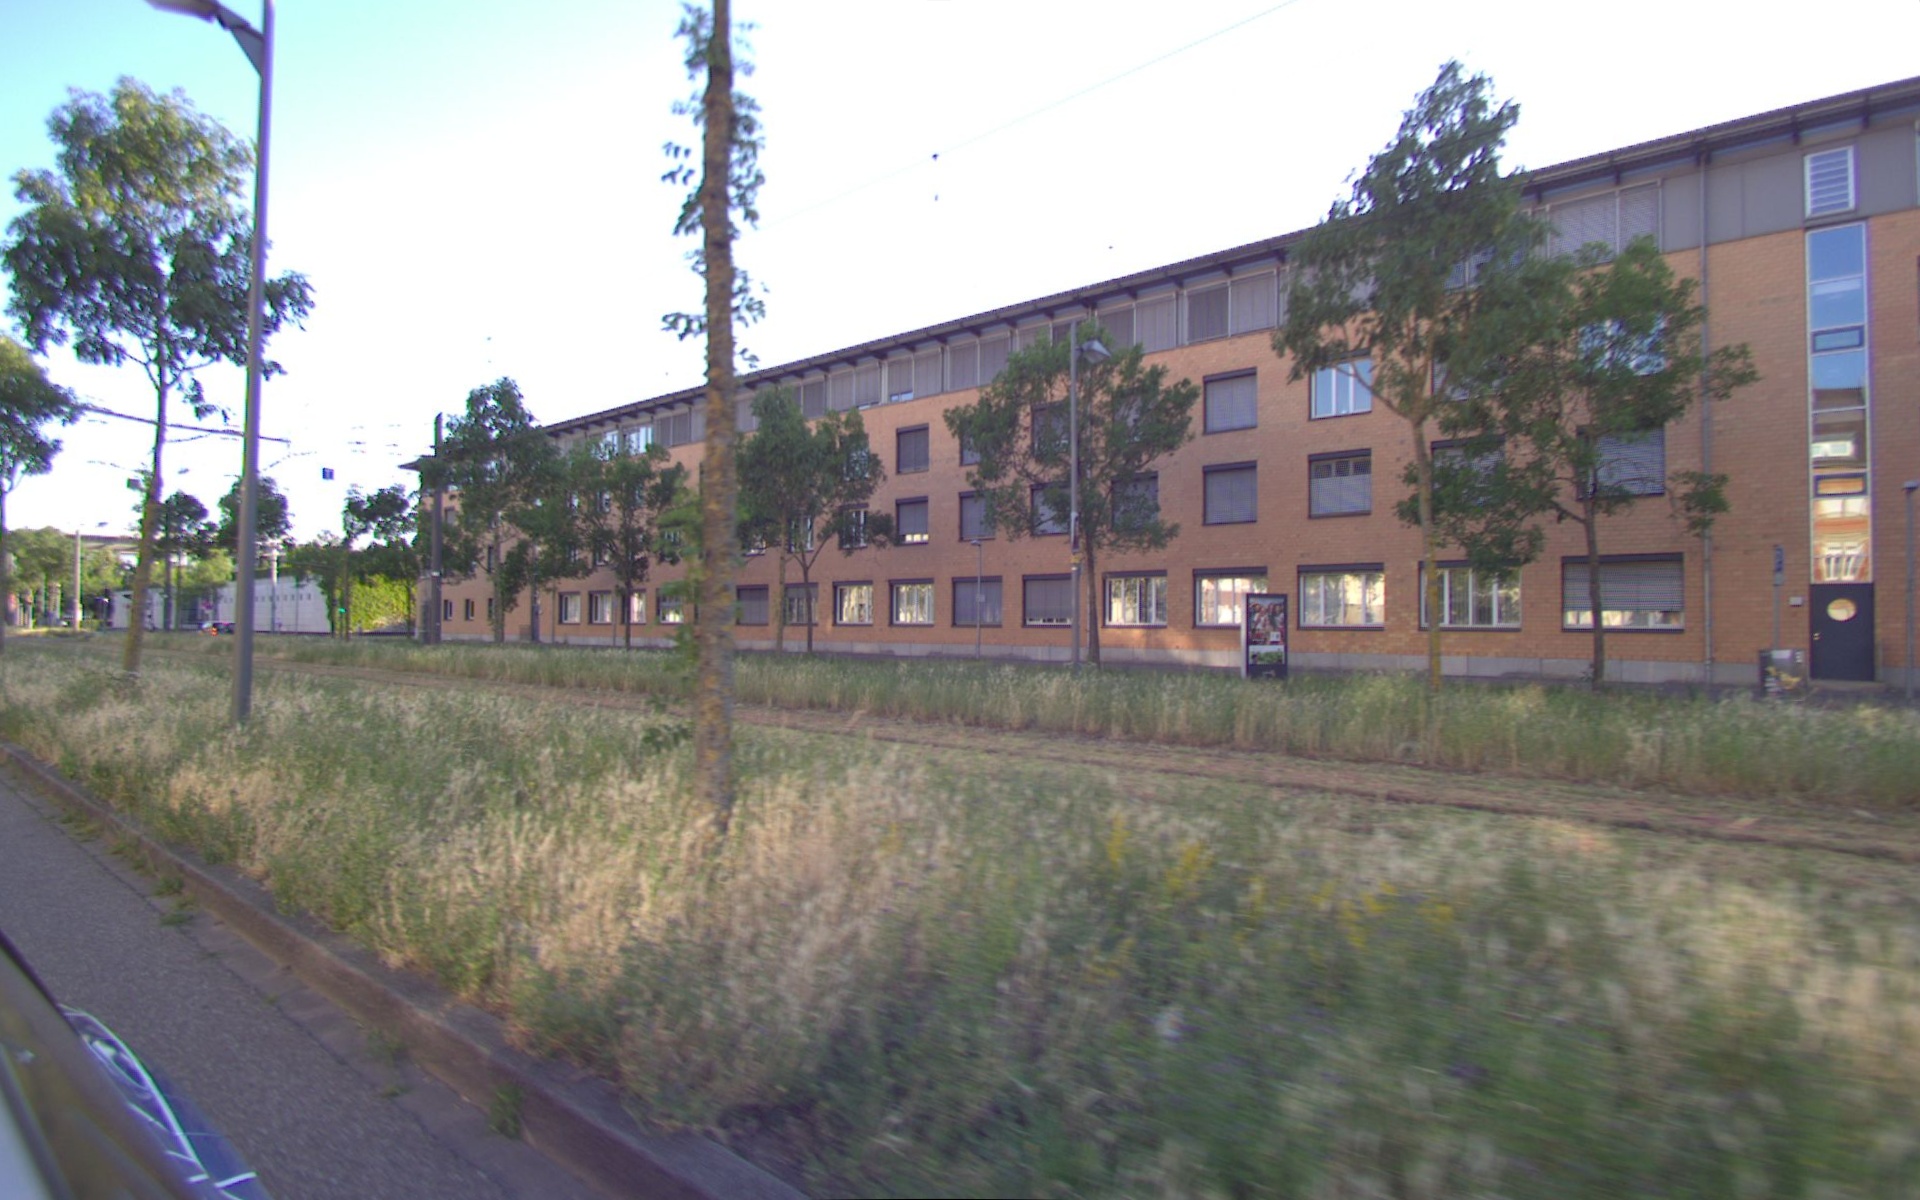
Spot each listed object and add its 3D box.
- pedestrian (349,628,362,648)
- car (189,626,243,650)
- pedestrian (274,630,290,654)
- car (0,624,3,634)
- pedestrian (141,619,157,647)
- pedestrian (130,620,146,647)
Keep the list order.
[{"bbox_3d":[-42.333,2.646,70.853,0.574,1.378,0.581,-1,-2,35],"label":"pedestrian"},{"bbox_3d":[-44.957,2.259,61.129,3.997,1.386,1.772,-1,-2,40],"label":"car"},{"bbox_3d":[-56.723,3.508,84.714,0.861,2.029,0.725,-1,-1,19],"label":"pedestrian"},{"bbox_3d":[-145.820,4.364,152.657,3.997,1.386,1.772,-1,-2,40],"label":"car"},{"bbox_3d":[-50.513,2.062,63.015,0.544,1.697,0.512,0,-2,11],"label":"pedestrian"},{"bbox_3d":[-51.457,2.083,63.354,0.544,1.697,0.512,-2,-2,10],"label":"pedestrian"}]
